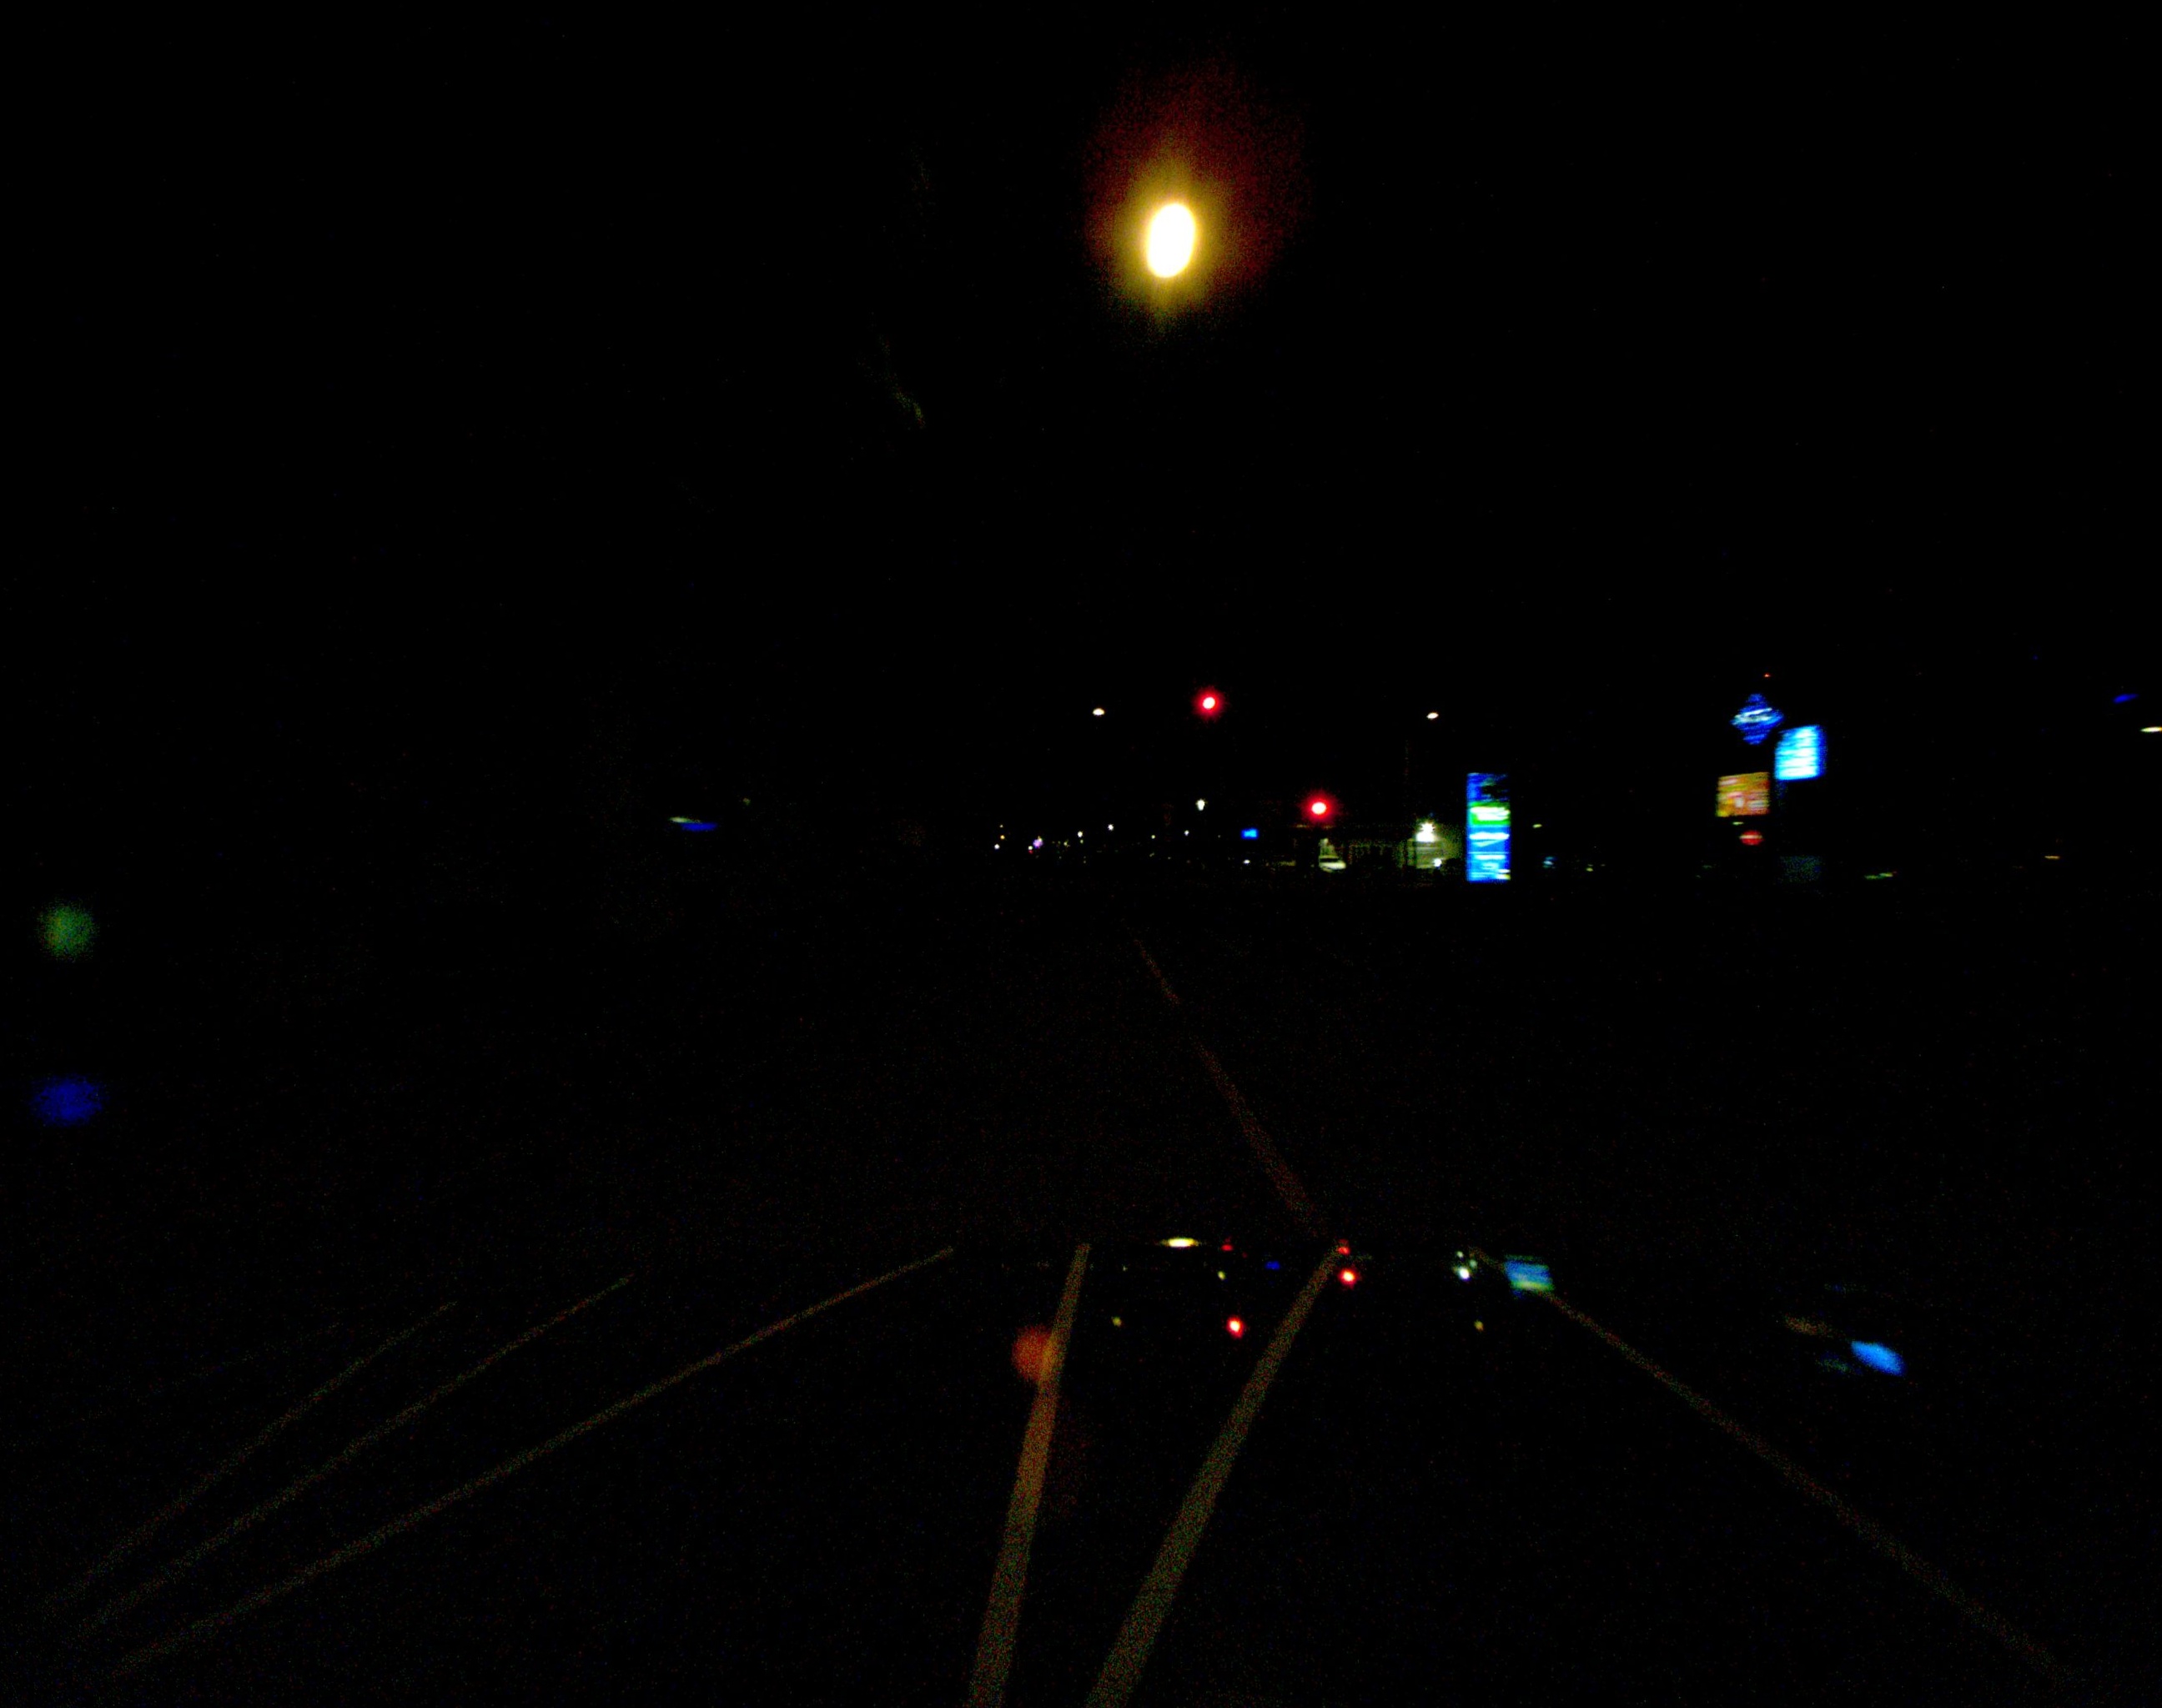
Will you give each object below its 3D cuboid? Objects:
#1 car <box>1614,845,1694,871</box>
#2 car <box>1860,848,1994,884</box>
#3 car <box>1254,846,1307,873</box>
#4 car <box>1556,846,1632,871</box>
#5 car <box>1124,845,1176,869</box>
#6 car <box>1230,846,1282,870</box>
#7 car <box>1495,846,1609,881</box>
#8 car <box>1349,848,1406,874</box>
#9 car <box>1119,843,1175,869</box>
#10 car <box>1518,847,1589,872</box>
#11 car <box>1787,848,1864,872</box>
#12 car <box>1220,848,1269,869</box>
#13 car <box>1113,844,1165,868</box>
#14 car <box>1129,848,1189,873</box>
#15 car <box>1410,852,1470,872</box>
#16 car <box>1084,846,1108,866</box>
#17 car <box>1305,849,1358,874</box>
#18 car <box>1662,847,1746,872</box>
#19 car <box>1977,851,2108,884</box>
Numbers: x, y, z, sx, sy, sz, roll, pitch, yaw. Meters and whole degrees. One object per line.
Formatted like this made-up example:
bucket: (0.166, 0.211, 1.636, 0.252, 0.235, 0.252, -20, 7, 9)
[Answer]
car: (34.751, 0.228, 46.207, 1.781, 1.469, 4.027, 0, 0, -1)
car: (36.022, 0.493, 32.430, 3.851, 1.403, 1.736, -1, 1, -1)
car: (12.164, 0.314, 46.639, 1.999, 1.548, 4.386, 0, 0, -1)
car: (31.603, 0.283, 46.975, 1.864, 1.469, 4.086, 0, 0, -1)
car: (5.021, 0.207, 55.901, 3.576, 1.619, 1.620, 2, 1, -3)
car: (13.329, 0.267, 58.014, 3.575, 1.689, 1.634, 2, 1, 0)
car: (22.217, 0.443, 35.951, 4.312, 1.550, 1.686, -1, 1, 1)
car: (18.242, 0.420, 46.963, 1.864, 1.544, 4.069, 0, 0, -1)
car: (5.036, 0.144, 58.362, 4.055, 1.879, 1.633, 2, 1, -3)
car: (28.685, 0.298, 46.273, 1.732, 1.469, 4.086, 1, 0, -1)
car: (47.587, 0.350, 48.662, 1.609, 1.492, 3.413, 0, 0, 0)
car: (13.201, 0.382, 61.425, 3.576, 1.577, 1.634, 2, 1, -2)
car: (4.610, 0.156, 60.566, 3.848, 1.781, 1.634, 2, 1, -3)
car: (5.208, 0.418, 50.930, 3.763, 1.577, 1.634, 2, 1, -3)
car: (26.241, 0.581, 55.553, 4.281, 1.469, 1.729, 0, 1, -27)
car: (1.249, 0.132, 65.126, 1.936, 1.646, 3.833, 1, 1, -1)
car: (15.235, 0.428, 46.472, 1.864, 1.452, 4.069, 0, 0, -1)
car: (37.718, 0.324, 46.128, 1.765, 1.469, 3.957, 0, 0, -1)
car: (41.293, 0.561, 32.674, 3.569, 1.403, 1.682, 0, 1, -1)
